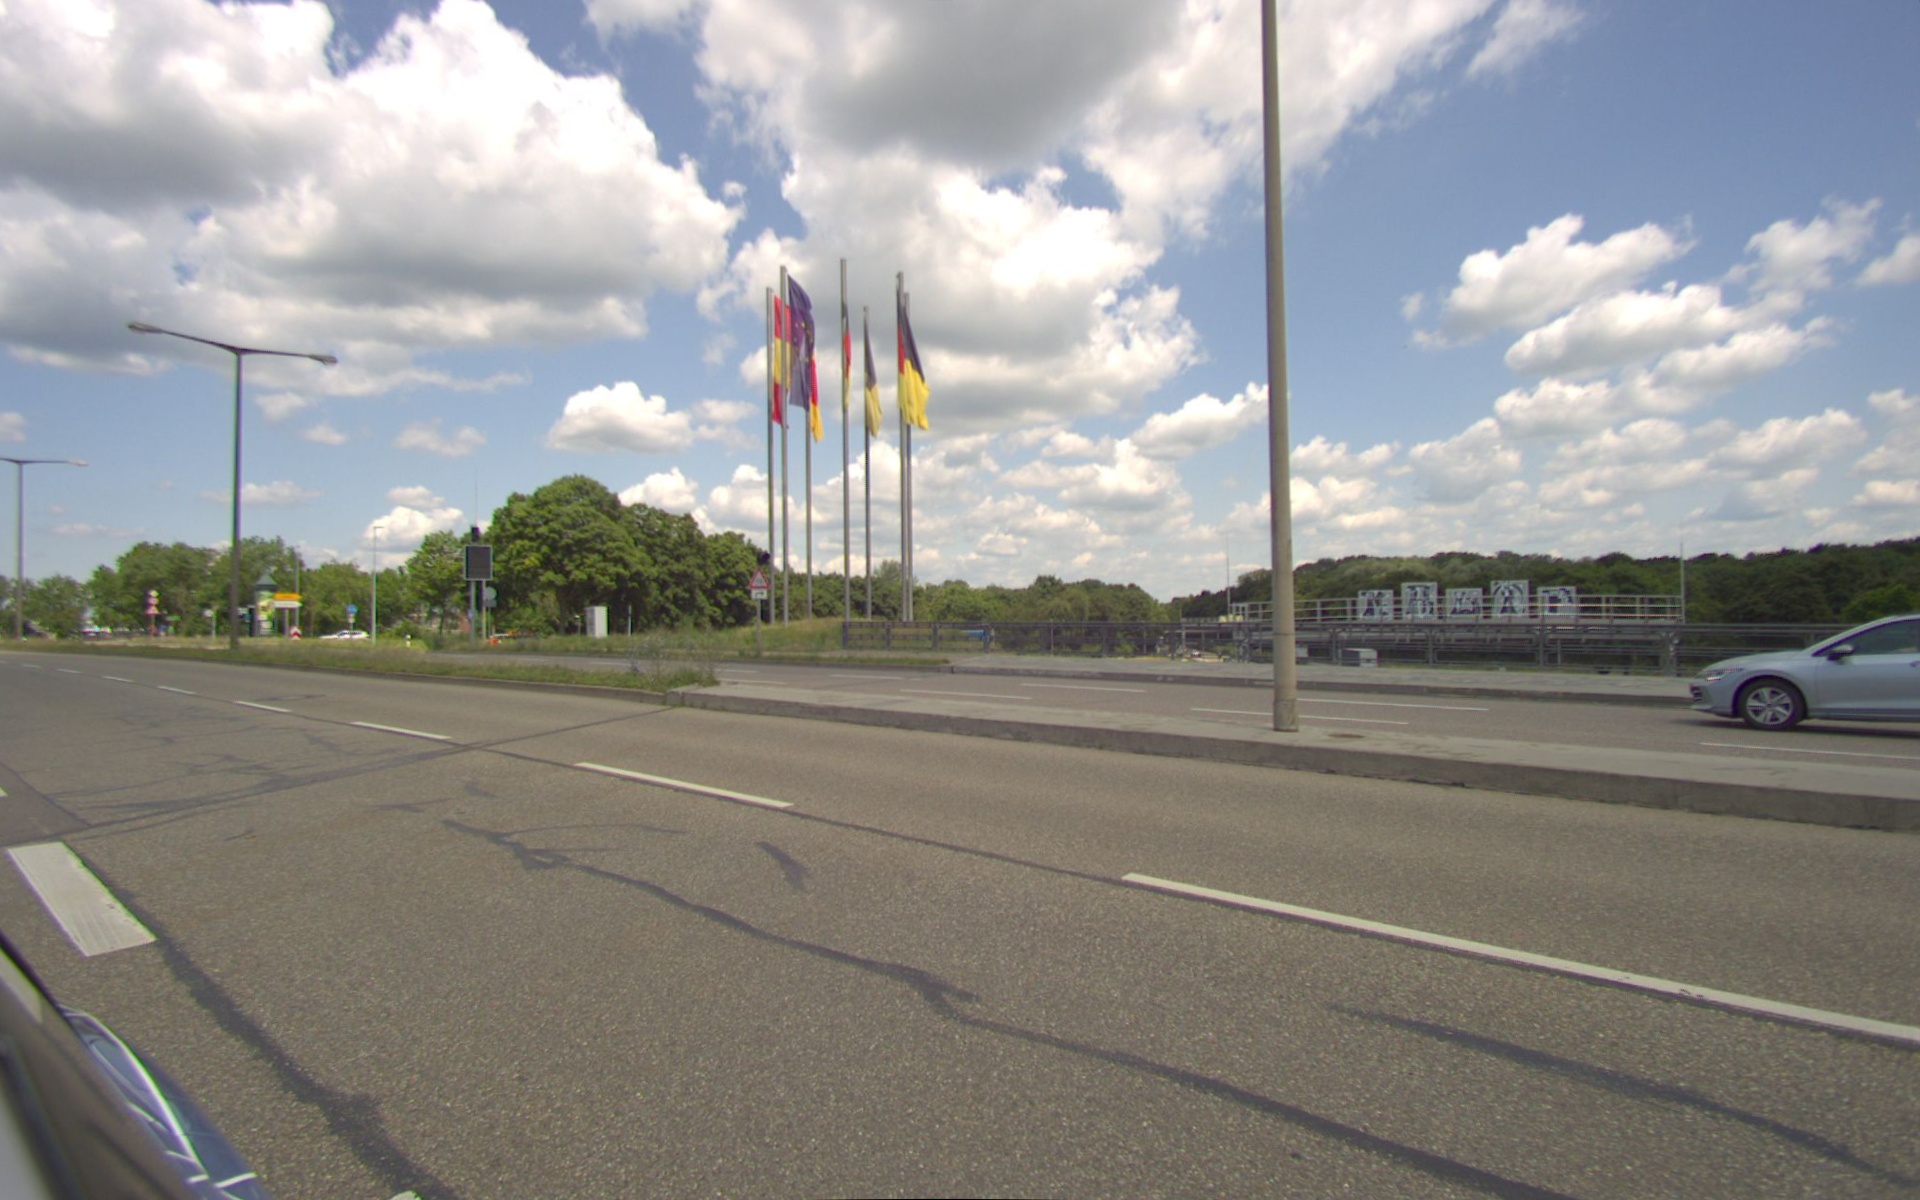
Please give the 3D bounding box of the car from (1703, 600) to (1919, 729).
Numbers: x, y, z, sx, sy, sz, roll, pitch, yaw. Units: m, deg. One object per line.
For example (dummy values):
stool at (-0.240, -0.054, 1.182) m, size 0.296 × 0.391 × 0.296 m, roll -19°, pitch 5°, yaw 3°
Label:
car at (11.423, 0.738, 11.570) m, size 4.549 × 1.424 × 1.645 m, roll -2°, pitch -4°, yaw 43°
